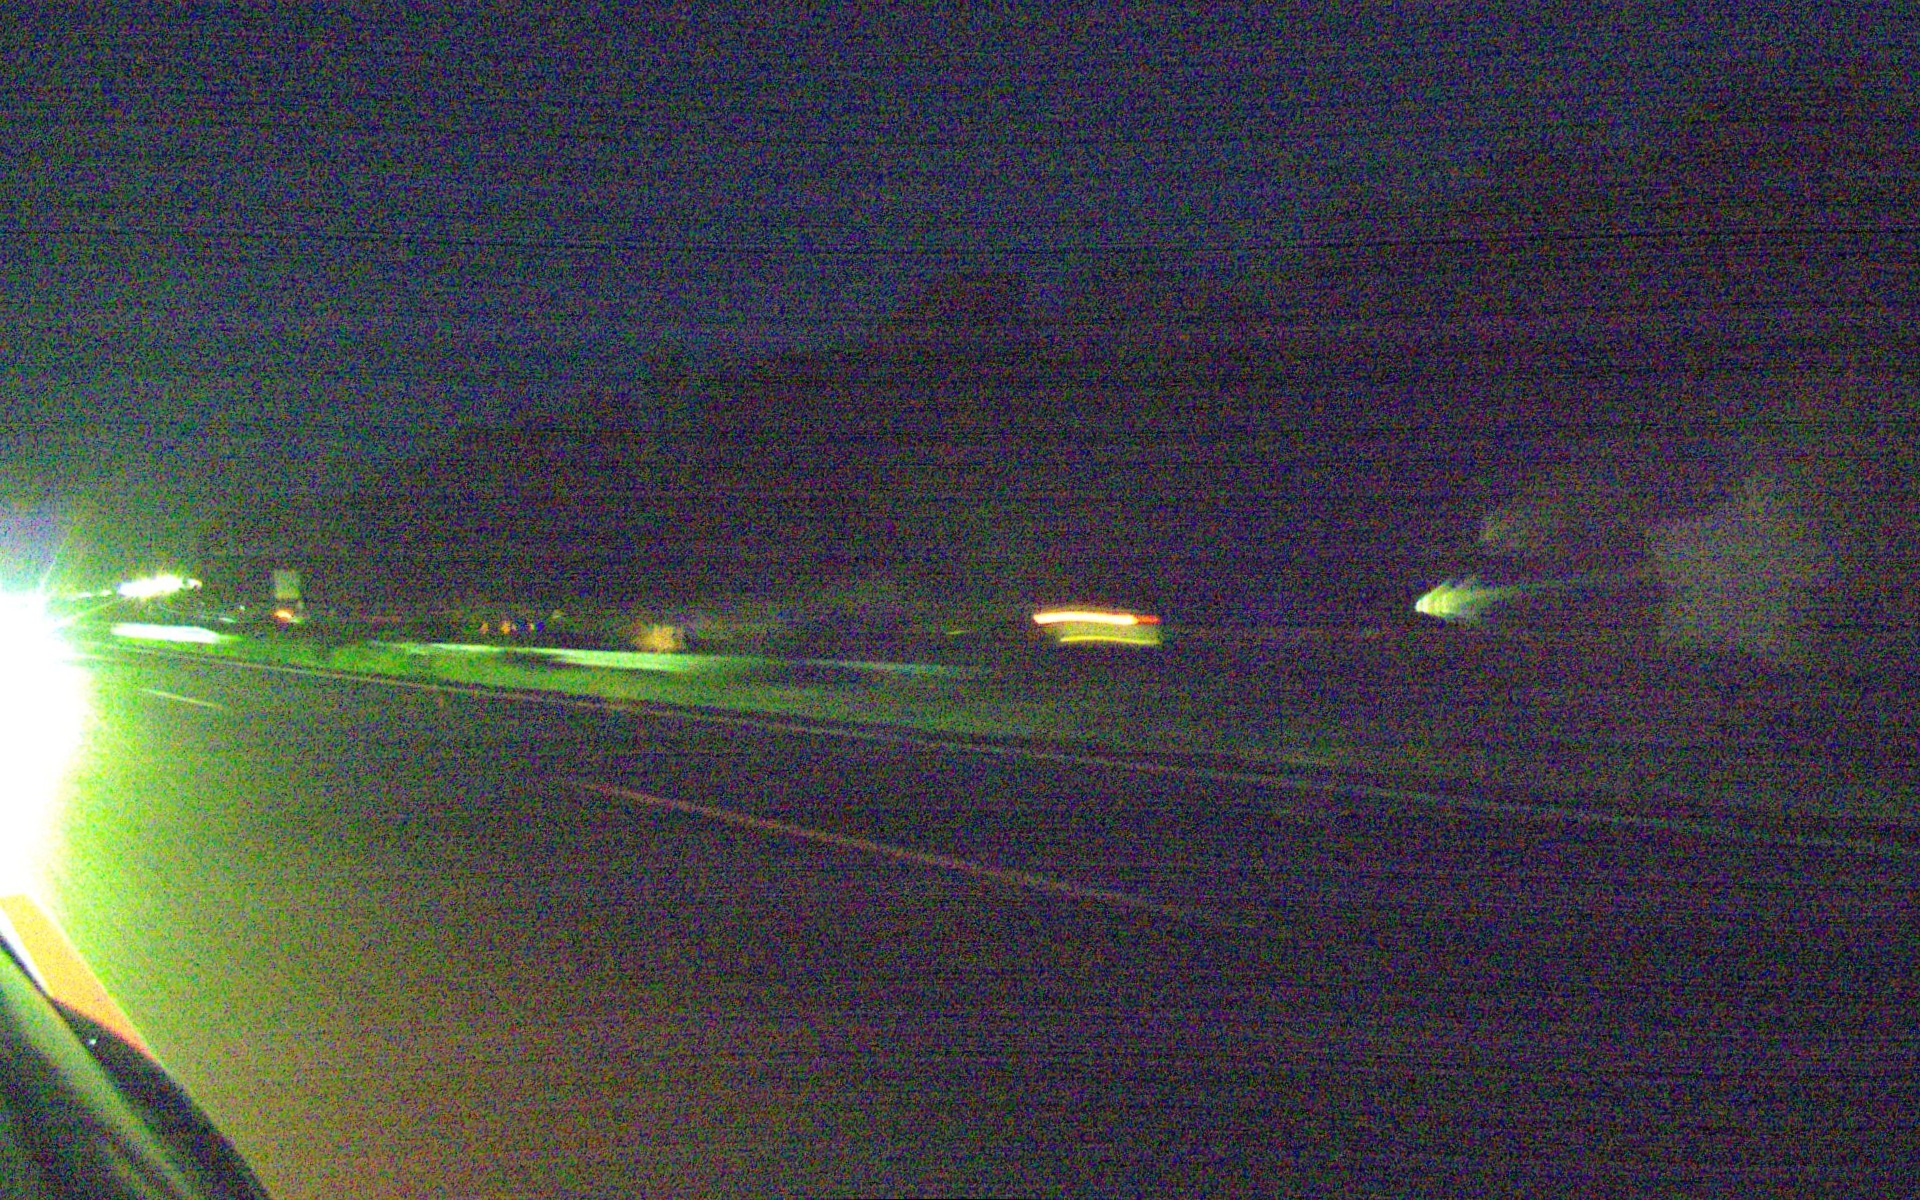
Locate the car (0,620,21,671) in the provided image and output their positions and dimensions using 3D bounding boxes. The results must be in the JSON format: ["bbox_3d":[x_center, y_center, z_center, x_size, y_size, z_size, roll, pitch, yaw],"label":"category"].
[{"bbox_3d":[-30.019,1.381,30.908,4.002,1.423,1.808,0,1,45],"label":"car"}]

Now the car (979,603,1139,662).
[{"bbox_3d":[2.684,0.866,27.939,3.998,1.519,1.973,-1,-1,41],"label":"car"}]
